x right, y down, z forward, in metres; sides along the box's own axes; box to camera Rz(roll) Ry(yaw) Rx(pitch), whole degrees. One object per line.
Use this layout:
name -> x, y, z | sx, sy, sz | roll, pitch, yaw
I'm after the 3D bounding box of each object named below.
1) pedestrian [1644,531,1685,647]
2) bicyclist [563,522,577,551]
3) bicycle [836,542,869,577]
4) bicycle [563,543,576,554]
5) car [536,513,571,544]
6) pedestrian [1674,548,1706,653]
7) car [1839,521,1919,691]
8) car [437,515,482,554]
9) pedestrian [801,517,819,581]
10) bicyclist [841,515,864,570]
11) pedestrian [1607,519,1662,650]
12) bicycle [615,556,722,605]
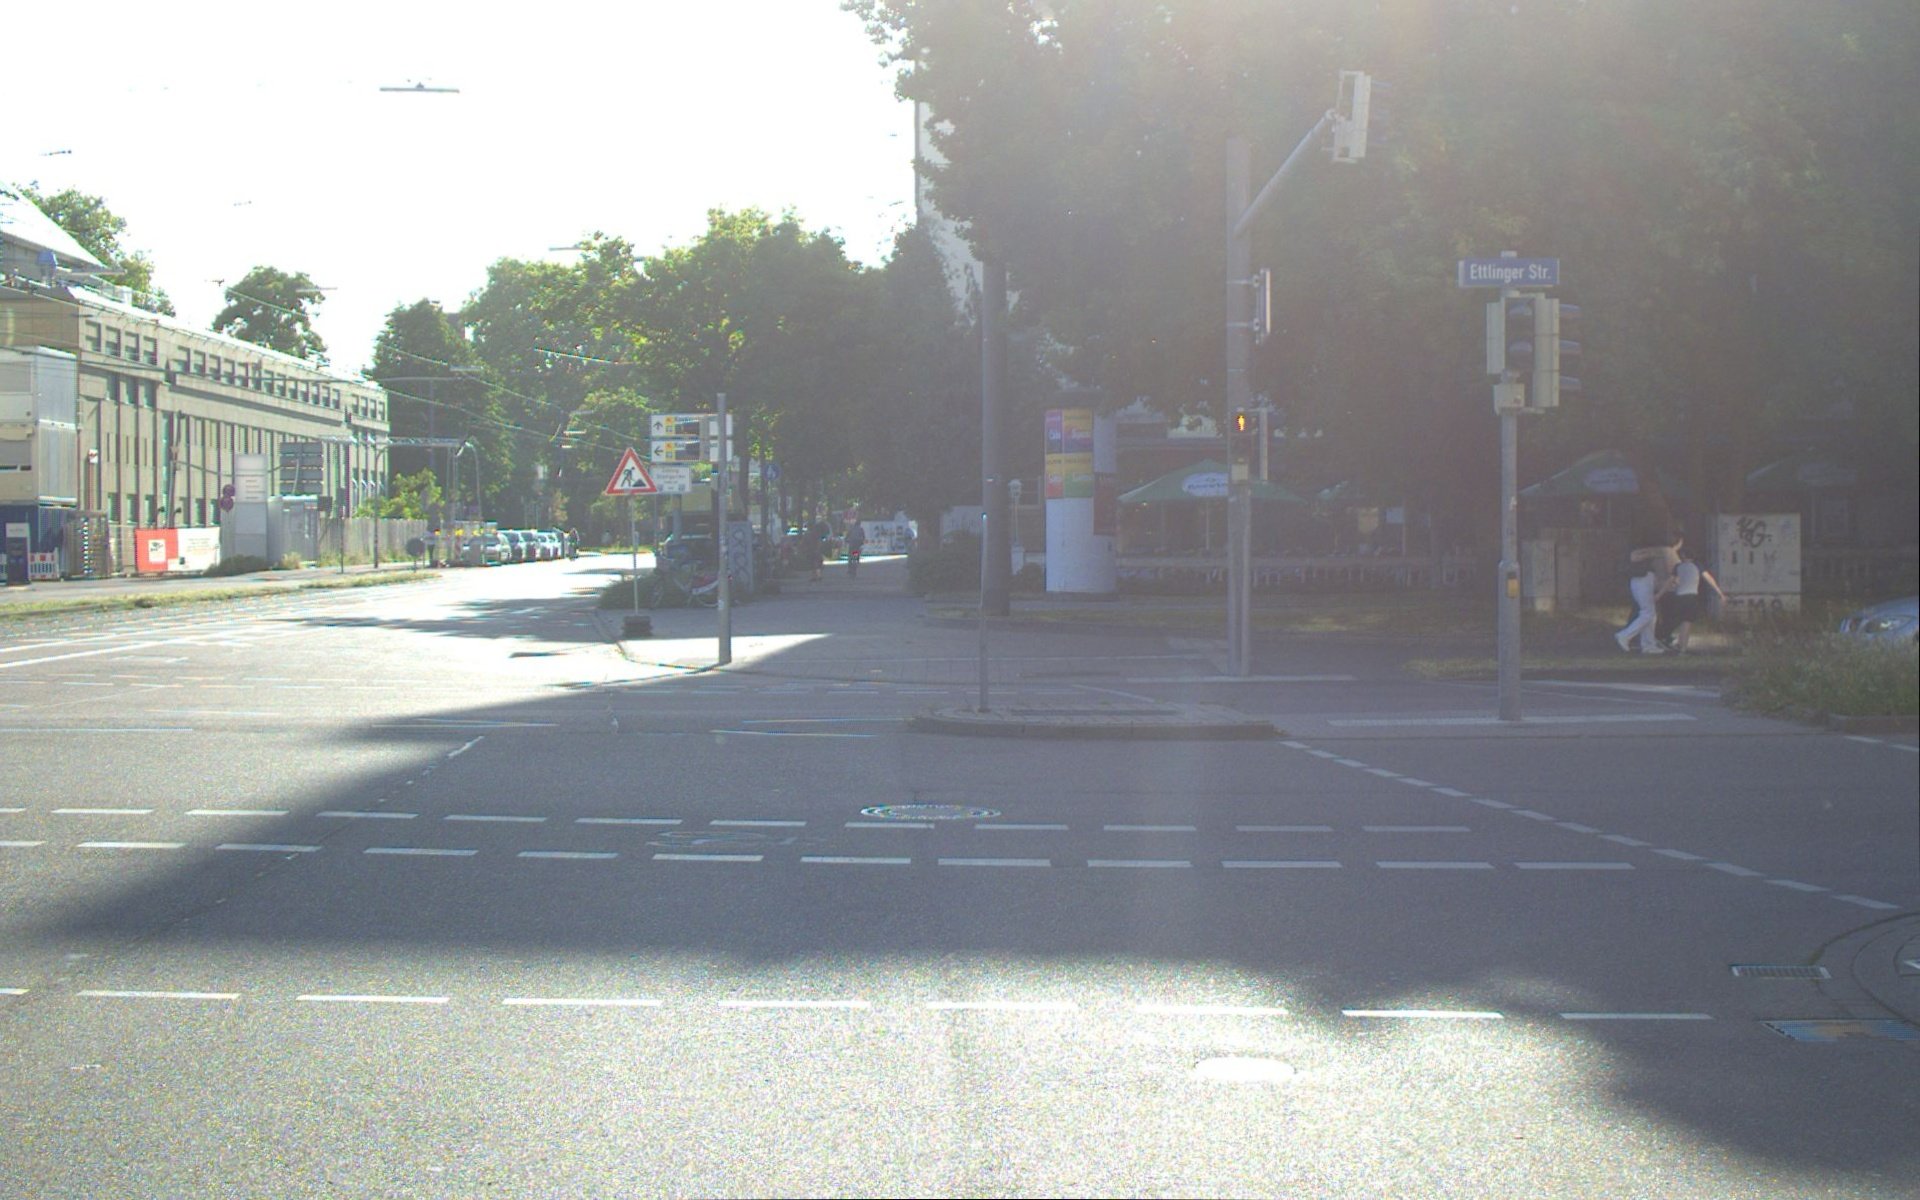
pedestrian -> 9.125, -0.149, 44.524 | 0.439, 1.498, 0.437 | 0, 1, 1
bicyclist -> -18.533, -3.022, 163.286 | 0.596, 1.372, 0.638 | 1, 0, -2
bicycle -> -3.338, -1.278, 106.789 | 0.575, 1.073, 1.831 | -1, 1, -16
bicycle -> -18.535, -2.464, 163.301 | 0.501, 0.513, 1.258 | 1, 1, -1
car -> -23.012, -4.031, 194.692 | 1.692, 1.712, 4.248 | 1, 1, -4
pedestrian -> 9.217, 0.002, 43.424 | 0.317, 1.311, 0.345 | 1, 2, 2
car -> 10.757, 0.023, 33.412 | 3.993, 1.605, 1.650 | -1, 1, -1
car -> -22.773, -2.967, 156.446 | 1.692, 1.712, 4.248 | 1, 1, -4
pedestrian -> -4.294, -1.460, 98.278 | 0.463, 1.807, 0.503 | 0, 1, -5
bicyclist -> -3.340, -1.788, 106.817 | 0.569, 1.685, 0.700 | -1, 1, -16
pedestrian -> 8.654, -0.200, 44.130 | 0.583, 1.657, 0.514 | 1, 2, 2
bicycle -> -5.728, -0.383, 67.482 | 2.018, 0.888, 0.650 | -2, 0, 27
